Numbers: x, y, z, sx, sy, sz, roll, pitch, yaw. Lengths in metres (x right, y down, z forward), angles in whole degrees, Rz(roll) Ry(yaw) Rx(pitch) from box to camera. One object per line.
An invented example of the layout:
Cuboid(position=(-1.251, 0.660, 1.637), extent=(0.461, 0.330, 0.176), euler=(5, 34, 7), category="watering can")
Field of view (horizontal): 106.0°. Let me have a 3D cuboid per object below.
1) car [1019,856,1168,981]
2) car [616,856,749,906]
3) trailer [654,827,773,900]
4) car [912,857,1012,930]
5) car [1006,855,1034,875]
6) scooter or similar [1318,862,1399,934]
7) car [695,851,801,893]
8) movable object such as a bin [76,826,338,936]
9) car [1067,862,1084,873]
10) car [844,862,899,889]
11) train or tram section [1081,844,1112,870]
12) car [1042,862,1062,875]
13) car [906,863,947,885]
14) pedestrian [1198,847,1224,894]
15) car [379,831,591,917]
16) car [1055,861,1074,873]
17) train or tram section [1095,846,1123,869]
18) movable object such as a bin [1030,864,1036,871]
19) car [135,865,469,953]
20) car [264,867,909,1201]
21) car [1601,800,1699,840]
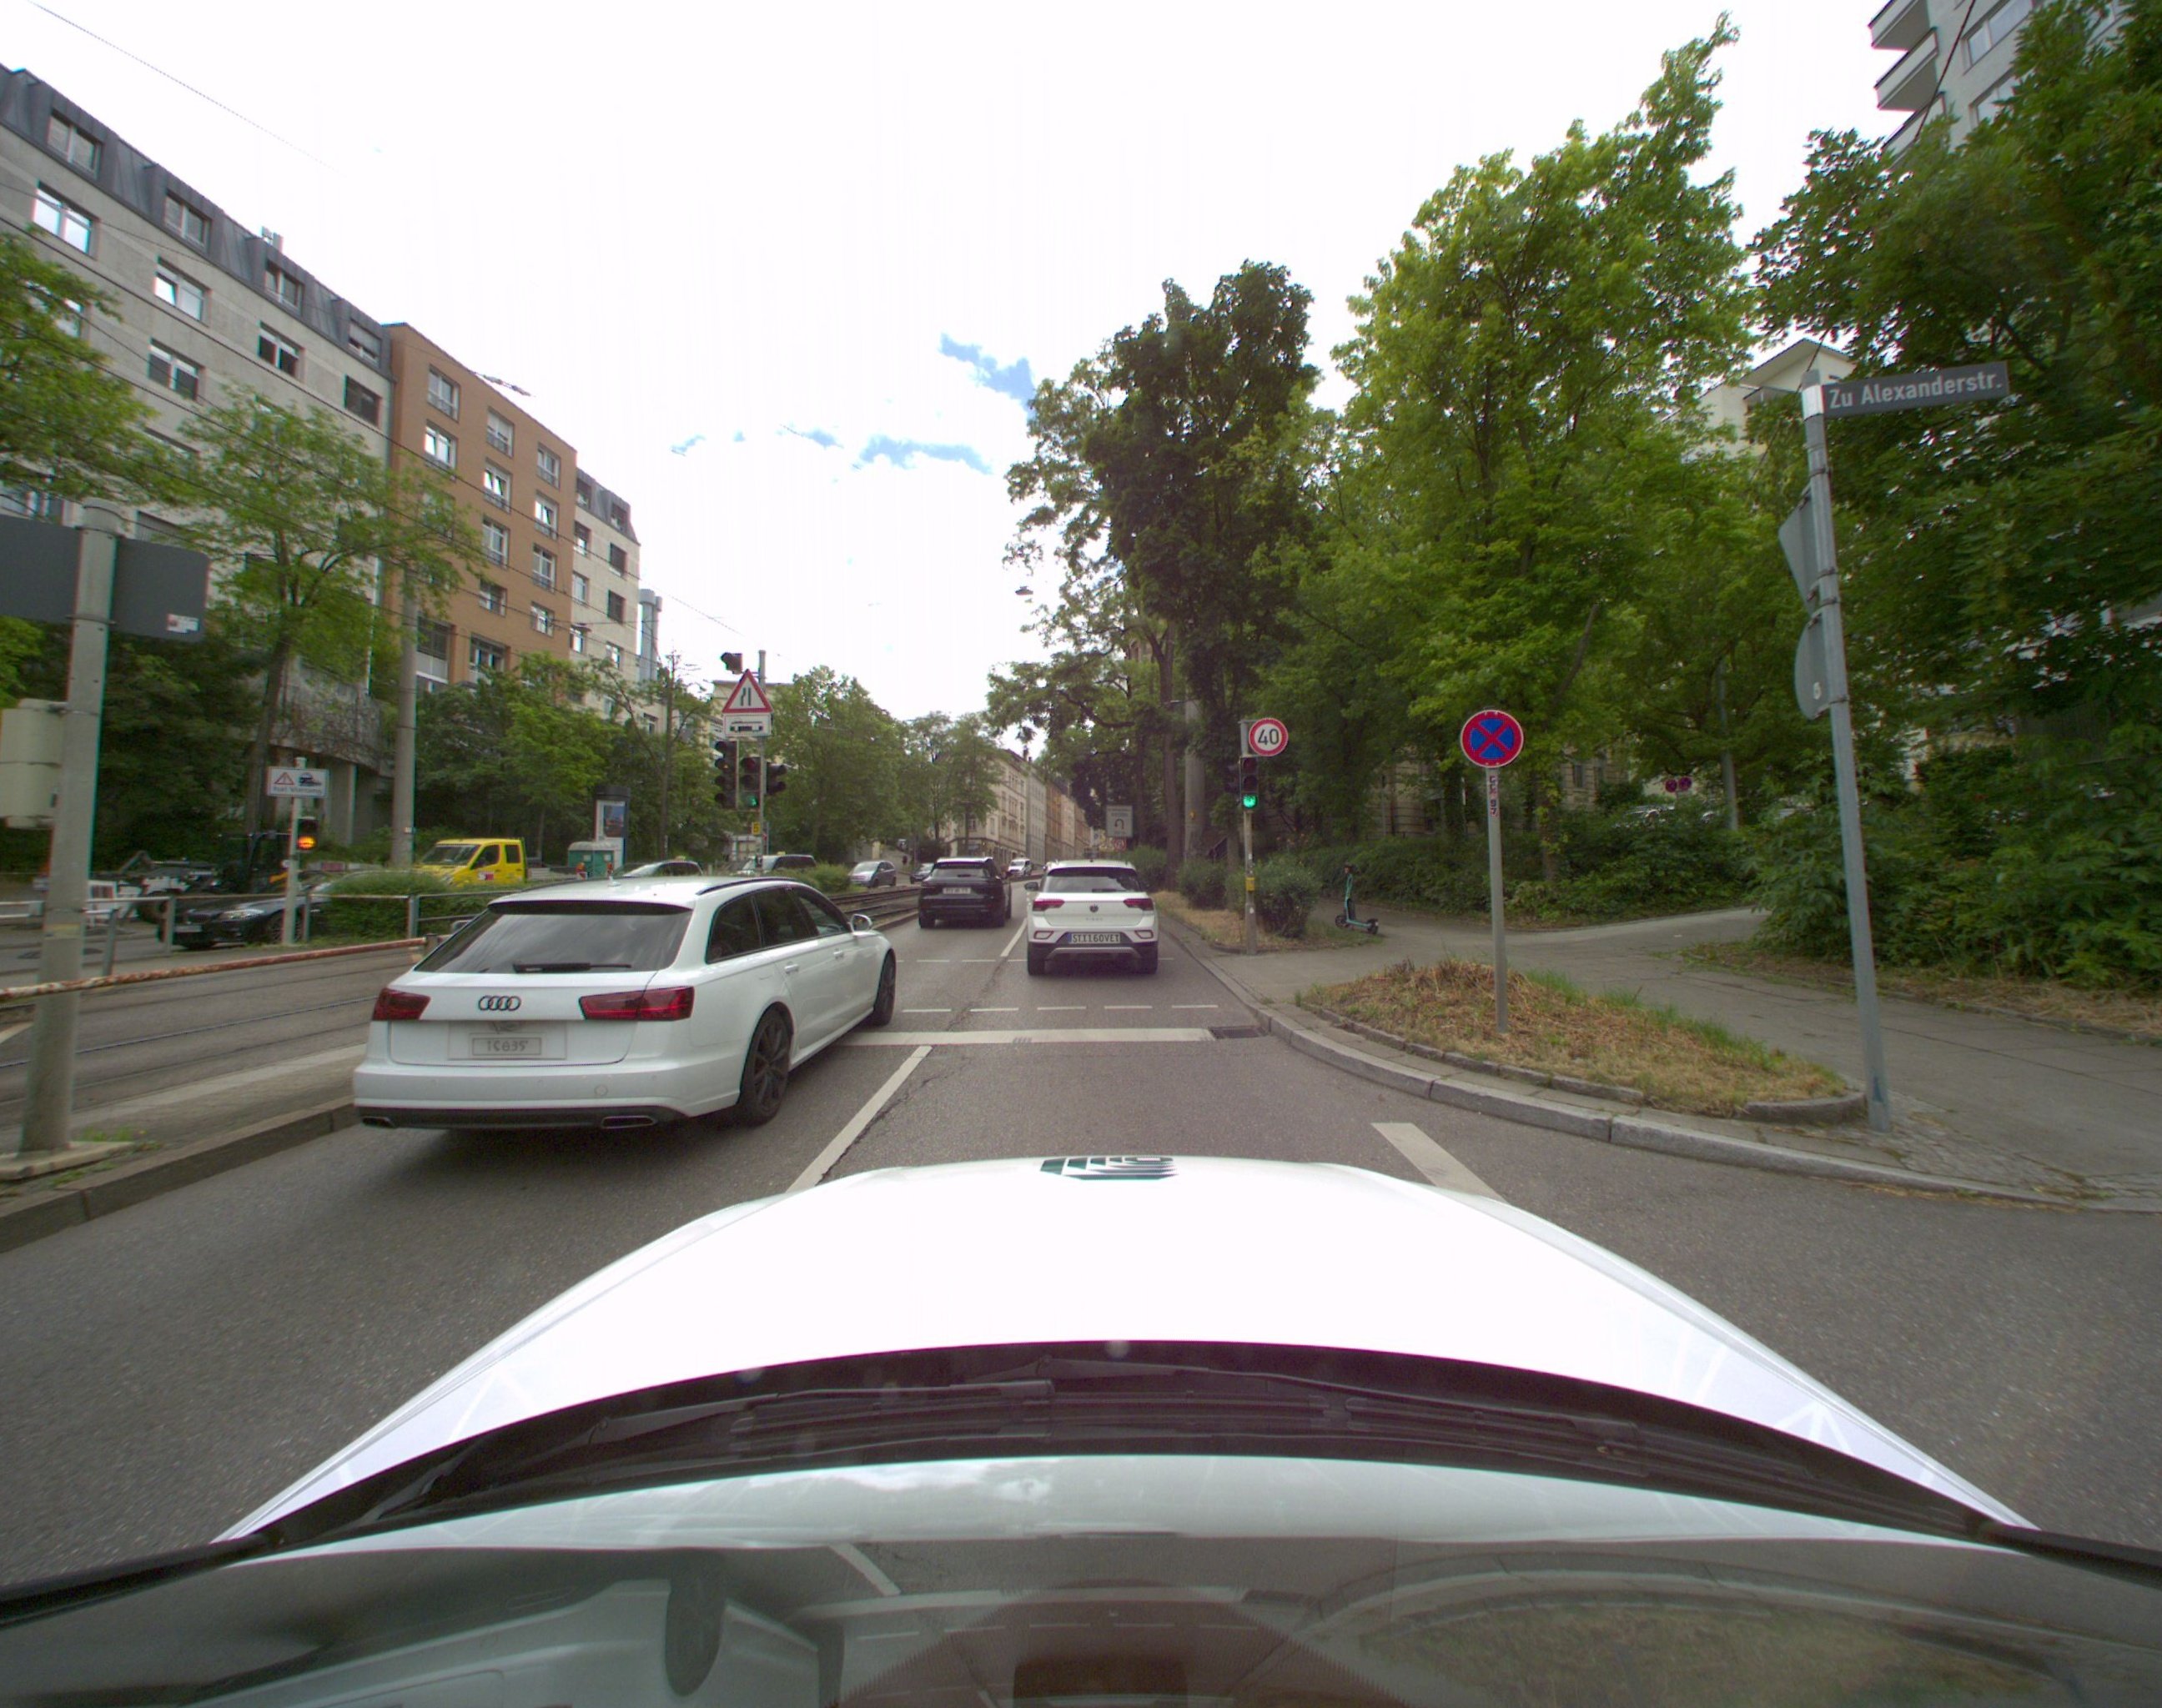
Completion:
Cuboid(position=(0.087, 0.831, 12.326), extent=(1.874, 1.554, 3.996), euler=(-1, -1, -2), category="car")
Cuboid(position=(-14.066, 0.913, 29.125), extent=(1.982, 1.605, 4.629), euler=(-1, 0, 8), category="car")
Cuboid(position=(-16.325, 0.410, 36.595), extent=(2.007, 2.973, 5.605), euler=(1, -1, 10), category="trailer")
Cuboid(position=(-2.816, 0.899, 20.261), extent=(2.033, 1.571, 4.353), euler=(-1, -1, -3), category="car")
Cuboid(position=(-6.370, 1.141, 85.417), extent=(1.936, 1.946, 5.013), euler=(-1, 0, 8), category="car")
Cuboid(position=(4.969, 0.763, 14.679), extent=(0.631, 1.210, 1.550), euler=(-1, -1, -13), category="scooter or similar")
Cuboid(position=(-13.723, 0.716, 33.900), extent=(1.982, 1.605, 4.620), euler=(-1, 0, 8), category="car")
Cuboid(position=(-21.676, 0.610, 20.494), extent=(1.923, 2.467, 4.105), euler=(1, 0, 6), category="movable object such as a bin")
Cuboid(position=(-0.795, 1.935, 121.023), extent=(1.983, 1.552, 4.007), euler=(-1, -1, 6), category="car")
Cuboid(position=(-11.742, 1.186, 45.863), extent=(1.649, 1.443, 3.749), euler=(-1, 0, 9), category="car")
Cuboid(position=(2.570, 0.470, 124.933), extent=(2.866, 3.726, 14.890), euler=(1, 0, 8), category="train or tram section")
Cuboid(position=(-3.652, 1.790, 103.820), extent=(1.983, 1.552, 4.007), euler=(-1, -1, 6), category="car")
Cuboid(position=(-10.901, 1.388, 57.753), extent=(1.757, 1.408, 4.089), euler=(-1, 0, 6), category="car")
Cuboid(position=(4.826, 0.601, 30.356), extent=(0.770, 1.703, 0.784), euler=(-1, -1, -4), category="pedestrian")
Cuboid(position=(-20.173, 0.639, 28.106), extent=(2.146, 2.594, 6.347), euler=(-1, 0, 6), category="car")
Cuboid(position=(-2.217, 1.808, 111.782), extent=(1.983, 1.552, 4.007), euler=(-1, -1, 6), category="car")
Cuboid(position=(4.968, 0.580, 141.581), extent=(2.860, 3.726, 18.743), euler=(1, 0, 8), category="train or tram section")
Cuboid(position=(-7.140, 2.035, 122.003), extent=(0.724, 1.074, 0.673), euler=(-1, -1, 8), category="movable object such as a bin")
Cuboid(position=(-15.487, 0.998, 16.686), extent=(1.873, 1.435, 4.851), euler=(-3, -1, 5), category="car")
Cuboid(position=(-2.747, 0.854, 6.020), extent=(1.872, 1.455, 4.617), euler=(-1, -1, 1), category="car")
Cuboid(position=(33.675, -2.012, 48.169), extent=(5.223, 1.933, 2.161), euler=(-4, -2, -23), category="car")
